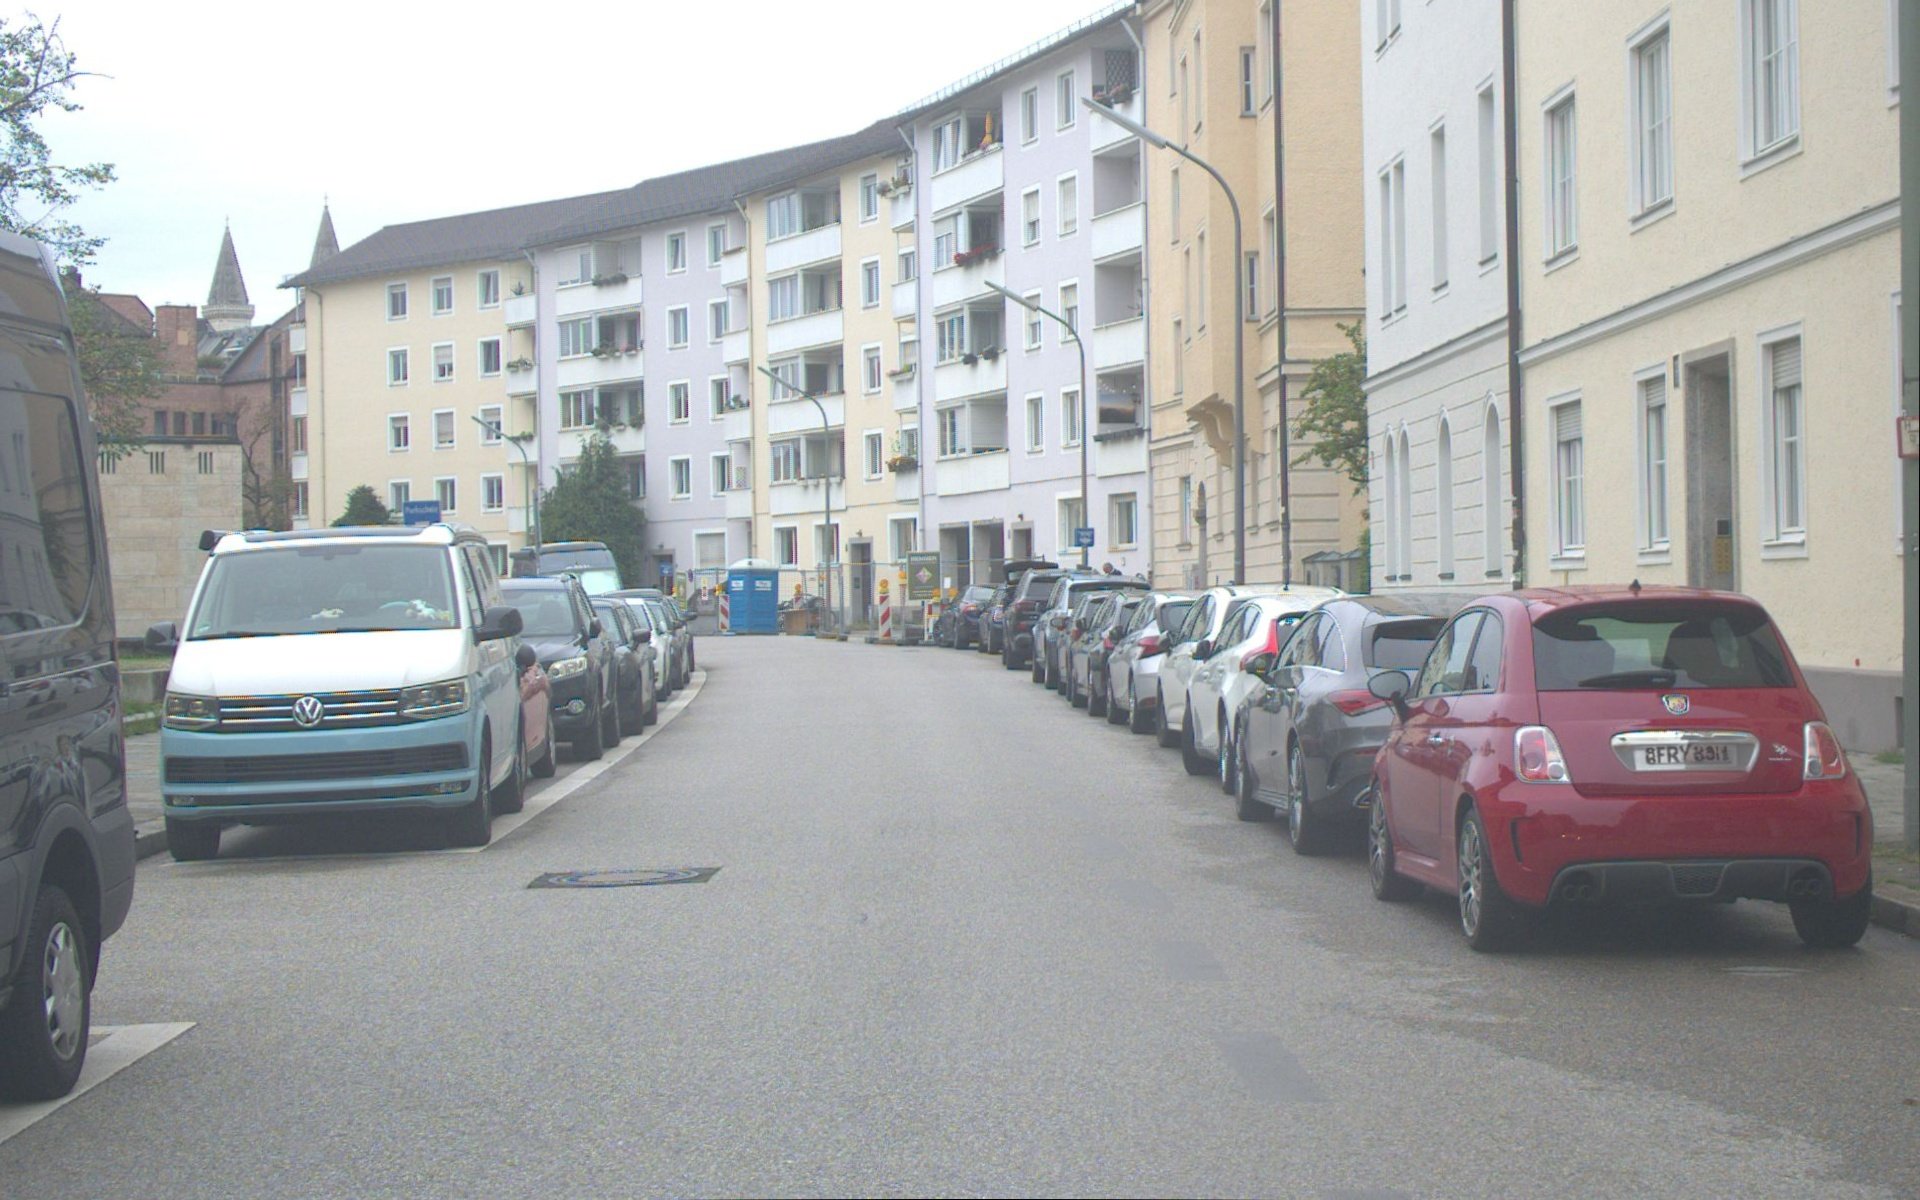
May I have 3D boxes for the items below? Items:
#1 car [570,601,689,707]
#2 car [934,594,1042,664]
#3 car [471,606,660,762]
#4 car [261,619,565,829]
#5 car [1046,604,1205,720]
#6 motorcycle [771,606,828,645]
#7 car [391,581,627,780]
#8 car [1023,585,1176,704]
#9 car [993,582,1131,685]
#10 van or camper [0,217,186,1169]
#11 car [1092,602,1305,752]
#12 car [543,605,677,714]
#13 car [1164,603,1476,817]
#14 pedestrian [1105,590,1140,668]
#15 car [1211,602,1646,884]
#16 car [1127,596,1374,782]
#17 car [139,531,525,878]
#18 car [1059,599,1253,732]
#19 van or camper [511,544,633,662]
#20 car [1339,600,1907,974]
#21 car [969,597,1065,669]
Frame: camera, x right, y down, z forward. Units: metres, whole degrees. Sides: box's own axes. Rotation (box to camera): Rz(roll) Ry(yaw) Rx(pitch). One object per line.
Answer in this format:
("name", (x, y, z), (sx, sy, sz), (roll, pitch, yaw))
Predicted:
("car", (-5.104, 0.804, 53.446), (1.630, 1.489, 4.276), (-3, 0, -4))
("car", (0.593, 0.633, 77.632), (1.908, 1.472, 4.947), (1, 0, -6))
("car", (-4.208, 0.862, 37.131), (1.631, 1.489, 3.820), (-3, 0, -1))
("car", (-4.173, 0.907, 26.747), (1.804, 1.402, 3.709), (-3, 0, -1))
("car", (2.168, 0.794, 46.049), (1.827, 1.445, 4.084), (1, 0, -1))
("motorcycle", (-5.148, 0.802, 109.901), (0.931, 1.217, 2.507), (0, 0, -25))
("car", (-4.138, 0.690, 32.093), (1.714, 1.684, 4.141), (-2, 0, -1))
("car", (2.021, 0.627, 50.910), (1.846, 1.658, 4.499), (1, 0, -3))
("car", (1.767, 0.558, 61.145), (2.169, 1.733, 5.024), (1, 0, -1))
("van or camper", (-3.825, 0.281, 8.808), (2.293, 2.642, 5.561), (-2, 0, 0))
("car", (2.444, 0.765, 36.108), (1.724, 1.445, 4.188), (1, 0, -3))
("car", (-4.871, 0.806, 48.293), (1.740, 1.417, 4.295), (0, 0, -4))
("car", (2.610, 0.761, 25.857), (1.725, 1.425, 4.294), (1, 0, -2))
("pedestrian", (3.591, 0.645, 75.941), (0.617, 1.684, 0.919), (-3, 0, -1))
("car", (2.620, 0.750, 20.283), (1.773, 1.425, 4.615), (1, 0, -2))
("car", (2.560, 0.752, 31.119), (1.650, 1.538, 3.994), (1, 0, -3))
("car", (-3.850, 0.572, 21.872), (1.914, 1.953, 4.962), (0, 0, -4))
("car", (2.265, 0.730, 40.893), (1.875, 1.445, 4.678), (1, 0, -2))
("van or camper", (-8.914, 0.061, 78.466), (2.296, 2.572, 6.087), (0, 0, -11))
("car", (2.800, 0.733, 15.307), (1.654, 1.425, 3.756), (1, 0, -2))
("car", (1.161, 0.660, 71.373), (1.630, 1.412, 3.680), (1, 0, -4))
